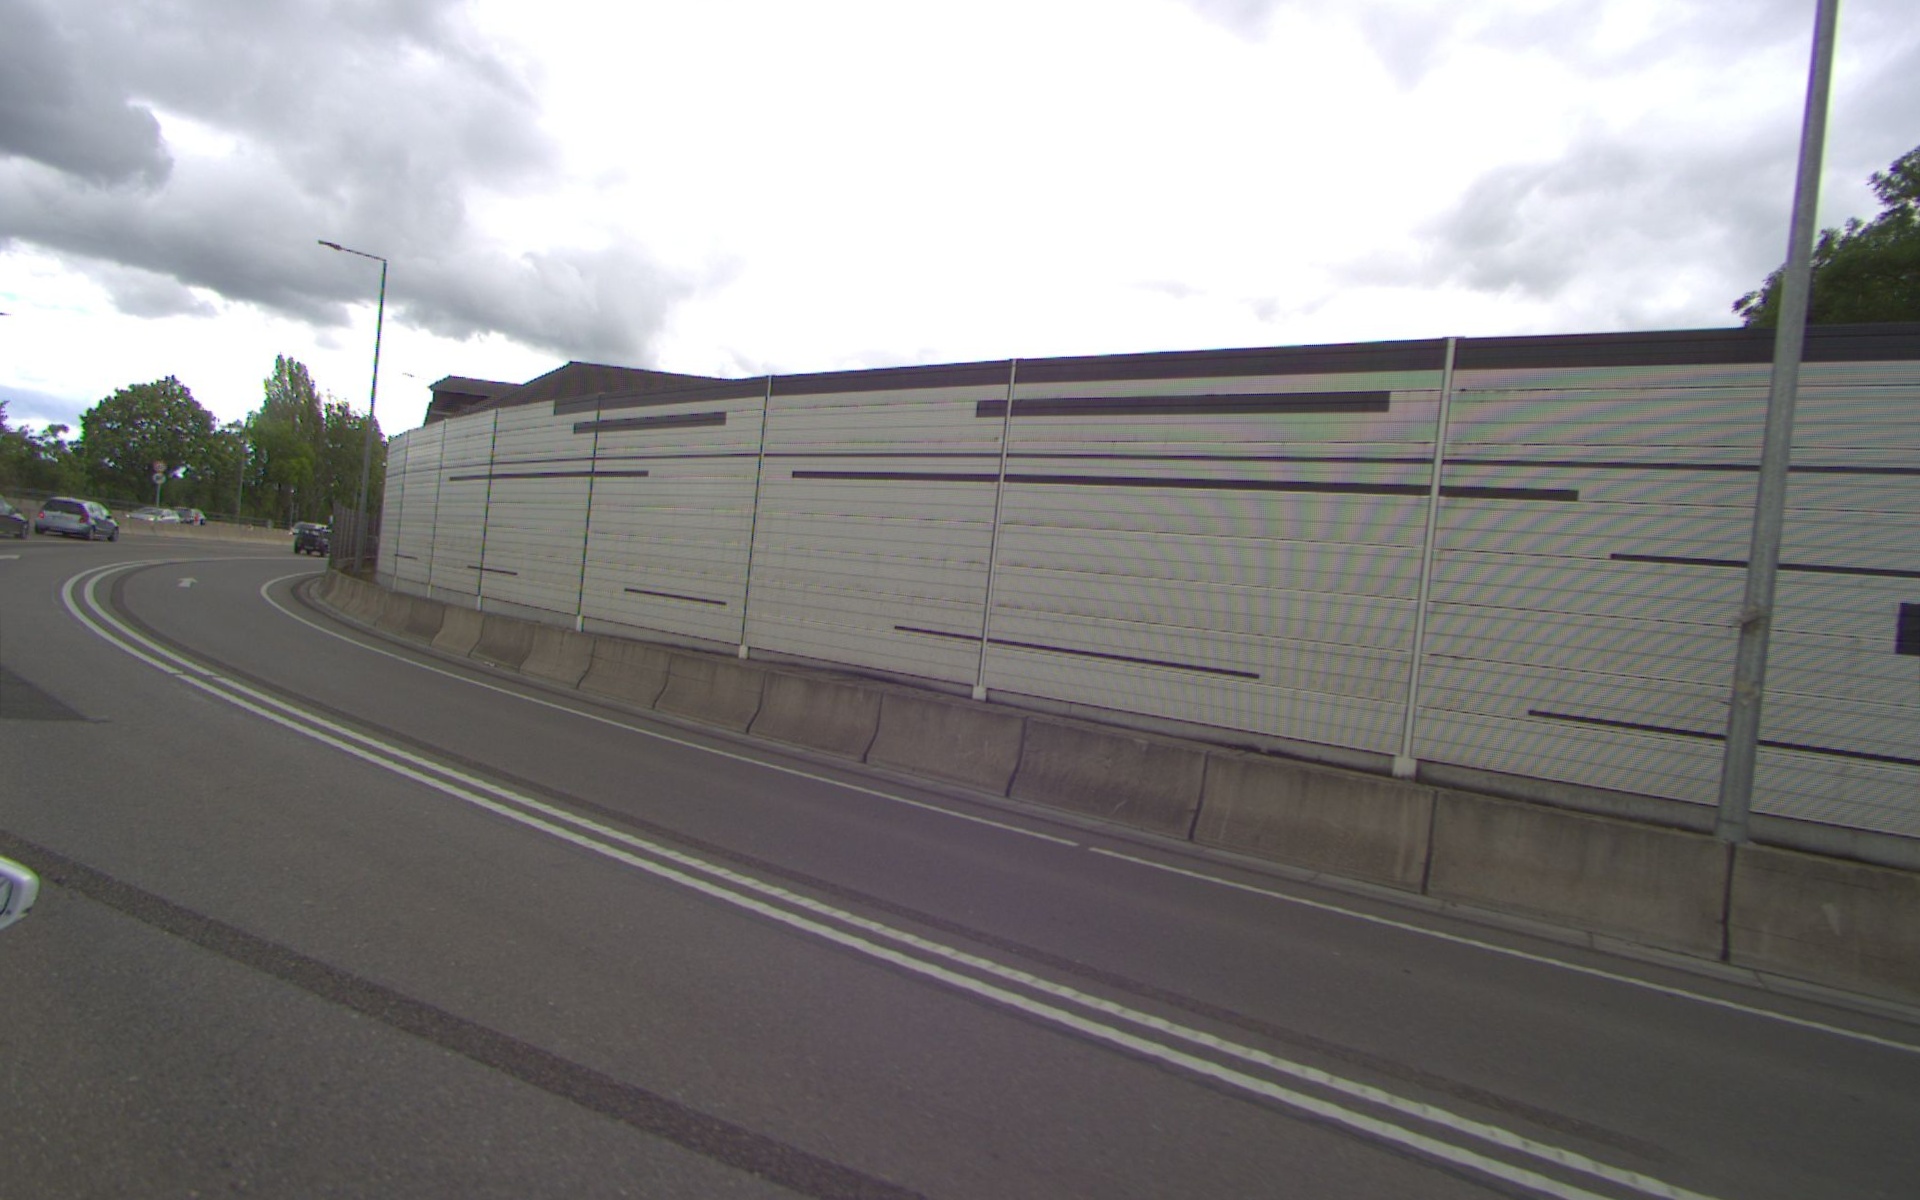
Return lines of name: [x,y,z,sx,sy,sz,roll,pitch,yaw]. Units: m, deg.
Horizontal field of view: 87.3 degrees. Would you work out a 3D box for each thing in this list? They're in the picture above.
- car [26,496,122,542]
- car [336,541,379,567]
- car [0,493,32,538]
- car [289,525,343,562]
car: [-36.273,-3.282,41.313,1.905,1.507,4.037,8,-1,-28]
car: [-48.064,-3.636,80.302,1.972,1.692,3.985,9,-2,-19]
car: [-32.179,-2.856,32.784,1.799,1.452,4.035,6,0,-28]
car: [-40.326,-3.501,63.054,1.973,1.882,3.981,7,-1,-22]
